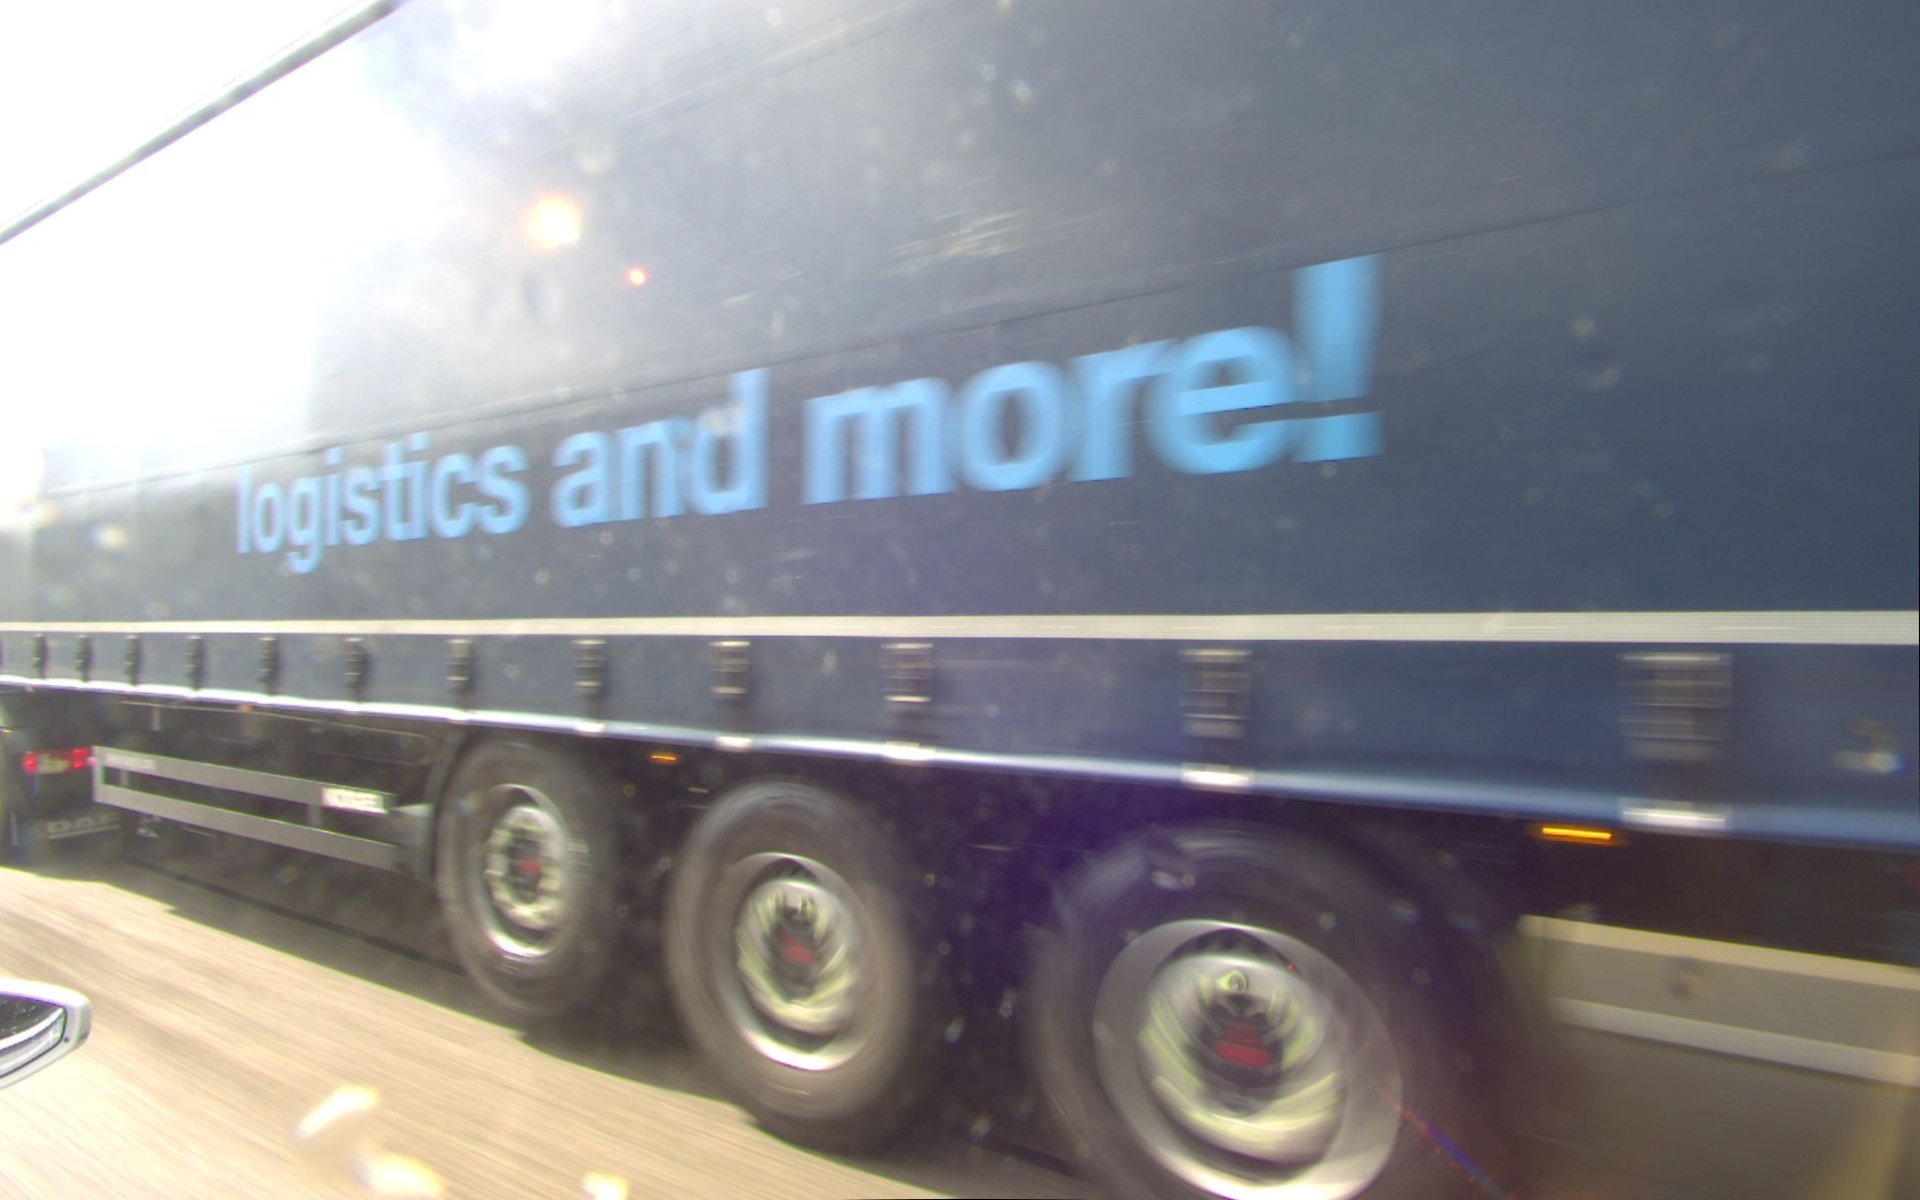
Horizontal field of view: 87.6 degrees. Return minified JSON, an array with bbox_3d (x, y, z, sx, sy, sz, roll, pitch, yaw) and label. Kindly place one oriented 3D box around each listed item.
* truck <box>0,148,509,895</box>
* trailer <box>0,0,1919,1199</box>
[{"bbox_3d":[-7.150,-0.325,8.472,7.187,4.046,2.602,-1,-2,33],"label":"truck"},{"bbox_3d":[-2.318,-0.443,5.369,13.866,4.046,2.629,-1,-2,33],"label":"trailer"}]
